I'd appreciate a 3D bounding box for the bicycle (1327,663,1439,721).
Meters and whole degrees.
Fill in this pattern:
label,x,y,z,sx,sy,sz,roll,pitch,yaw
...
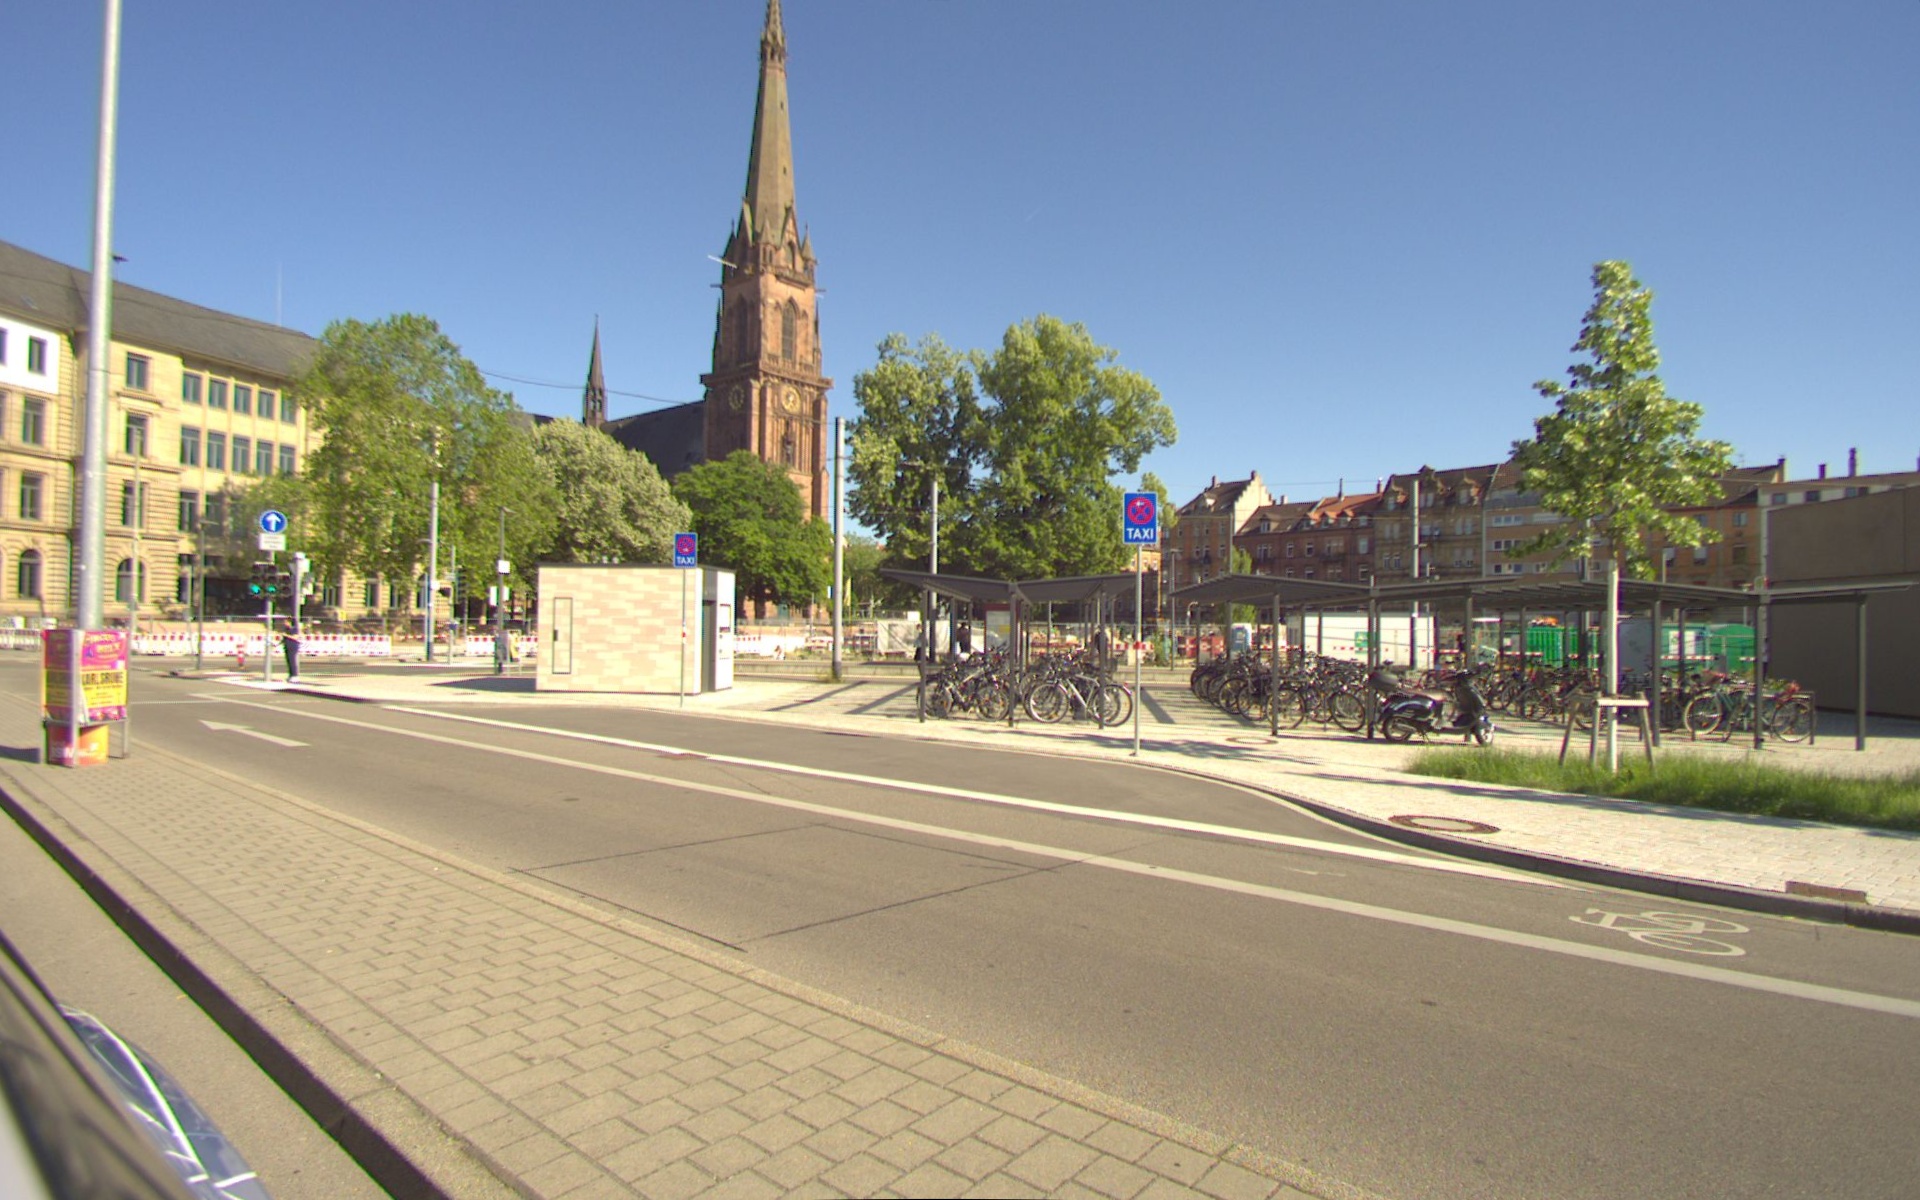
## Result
label,x,y,z,sx,sy,sz,roll,pitch,yaw
bicycle,7.916,1.715,18.994,1.882,1.016,0.456,0,-2,8

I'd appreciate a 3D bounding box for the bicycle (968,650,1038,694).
label,x,y,z,sx,sy,sz,roll,pitch,yaw
bicycle,1.039,1.717,24.224,1.652,1.016,0.456,0,-2,8

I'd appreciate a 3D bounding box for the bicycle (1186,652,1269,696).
label,x,y,z,sx,sy,sz,roll,pitch,yaw
bicycle,6.391,1.765,24.224,1.882,1.016,0.456,0,-2,8

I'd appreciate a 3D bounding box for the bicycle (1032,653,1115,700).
label,x,y,z,sx,sy,sz,roll,pitch,yaw
bicycle,2.603,1.750,23.302,1.882,1.016,0.456,0,-2,8

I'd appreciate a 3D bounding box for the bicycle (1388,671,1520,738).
label,x,y,z,sx,sy,sz,roll,pitch,yaw
bicycle,8.026,1.694,16.492,1.882,1.016,0.456,0,-2,8

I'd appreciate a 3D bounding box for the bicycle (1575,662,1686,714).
label,x,y,z,sx,sy,sz,roll,pitch,yaw
bicycle,13.871,1.821,20.969,1.882,1.016,0.456,0,-2,8

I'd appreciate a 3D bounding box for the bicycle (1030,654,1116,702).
label,x,y,z,sx,sy,sz,roll,pitch,yaw
bicycle,2.508,1.729,22.532,1.882,1.016,0.456,0,-2,8

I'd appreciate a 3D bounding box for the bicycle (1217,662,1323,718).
label,x,y,z,sx,sy,sz,roll,pitch,yaw
bicycle,5.895,1.711,19.321,1.882,1.016,0.456,0,-2,8

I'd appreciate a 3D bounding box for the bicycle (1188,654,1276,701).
label,x,y,z,sx,sy,sz,roll,pitch,yaw
bicycle,6.146,1.740,22.941,1.882,1.016,0.456,0,-2,8

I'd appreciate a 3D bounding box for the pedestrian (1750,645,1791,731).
label,x,y,z,sx,sy,sz,roll,pitch,yaw
pedestrian,19.745,2.129,24.649,0.718,2.029,0.678,-1,-3,41

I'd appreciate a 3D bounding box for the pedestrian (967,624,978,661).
label,x,y,z,sx,sy,sz,roll,pitch,yaw
pedestrian,0.582,1.997,47.614,0.399,1.734,0.419,1,-2,-11

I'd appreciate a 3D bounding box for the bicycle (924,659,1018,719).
label,x,y,z,sx,sy,sz,roll,pitch,yaw
bicycle,0.199,1.587,18.189,1.652,1.016,0.456,0,-2,8

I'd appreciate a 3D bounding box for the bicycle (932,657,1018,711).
label,x,y,z,sx,sy,sz,roll,pitch,yaw
bicycle,0.303,1.639,19.886,1.652,1.016,0.456,0,-2,8

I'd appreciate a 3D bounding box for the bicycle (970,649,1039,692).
label,x,y,z,sx,sy,sz,roll,pitch,yaw
bicycle,1.104,1.731,24.940,1.652,1.016,0.456,0,-2,8

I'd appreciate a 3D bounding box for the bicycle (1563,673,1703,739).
label,x,y,z,sx,sy,sz,roll,pitch,yaw
bicycle,10.970,1.720,16.535,1.882,1.016,0.456,0,-2,8

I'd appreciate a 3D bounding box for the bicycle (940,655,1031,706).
label,x,y,z,sx,sy,sz,roll,pitch,yaw
bicycle,0.541,1.677,21.224,1.882,1.016,0.456,0,-2,8

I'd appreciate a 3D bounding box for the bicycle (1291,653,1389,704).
label,x,y,z,sx,sy,sz,roll,pitch,yaw
bicycle,8.054,1.663,21.518,1.882,1.016,0.456,0,-2,8

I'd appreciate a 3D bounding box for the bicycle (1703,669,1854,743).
label,x,y,z,sx,sy,sz,roll,pitch,yaw
bicycle,13.079,1.687,16.205,1.882,1.106,0.456,0,-2,8

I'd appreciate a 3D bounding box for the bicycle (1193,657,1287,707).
label,x,y,z,sx,sy,sz,roll,pitch,yaw
bicycle,5.963,1.749,21.607,1.882,1.016,0.456,0,-2,8

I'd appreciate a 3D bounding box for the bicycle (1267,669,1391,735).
label,x,y,z,sx,sy,sz,roll,pitch,yaw
bicycle,6.119,1.684,16.838,1.882,1.016,0.456,0,-2,8

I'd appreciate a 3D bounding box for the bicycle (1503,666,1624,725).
label,x,y,z,sx,sy,sz,roll,pitch,yaw
bicycle,11.162,1.759,18.756,1.882,1.016,0.456,0,-2,8

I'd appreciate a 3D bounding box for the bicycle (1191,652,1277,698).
label,x,y,z,sx,sy,sz,roll,pitch,yaw
bicycle,6.363,1.734,23.565,1.882,1.016,0.456,0,-2,8

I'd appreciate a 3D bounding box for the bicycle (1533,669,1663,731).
label,x,y,z,sx,sy,sz,roll,pitch,yaw
bicycle,11.098,1.735,17.640,1.882,1.016,0.456,0,-2,8

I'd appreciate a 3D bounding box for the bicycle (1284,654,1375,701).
label,x,y,z,sx,sy,sz,roll,pitch,yaw
bicycle,8.313,1.738,22.816,1.882,1.016,0.456,0,-2,8

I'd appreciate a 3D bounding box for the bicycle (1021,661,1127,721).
label,x,y,z,sx,sy,sz,roll,pitch,yaw
bicycle,2.052,1.635,18.259,1.882,1.016,0.456,0,-2,8

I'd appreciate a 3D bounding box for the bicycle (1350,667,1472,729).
label,x,y,z,sx,sy,sz,roll,pitch,yaw
bicycle,7.892,1.711,17.761,1.882,1.016,0.456,0,-2,8

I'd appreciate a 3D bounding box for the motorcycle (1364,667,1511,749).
label,x,y,z,sx,sy,sz,roll,pitch,yaw
motorcycle,7.159,1.605,15.224,1.924,1.160,0.516,0,-2,6

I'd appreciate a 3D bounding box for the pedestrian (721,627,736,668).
label,x,y,z,sx,sy,sz,roll,pitch,yaw
pedestrian,-12.390,2.558,54.090,0.545,2.171,0.568,0,-2,15

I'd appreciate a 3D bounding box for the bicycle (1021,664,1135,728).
label,x,y,z,sx,sy,sz,roll,pitch,yaw
bicycle,1.987,1.604,17.112,1.882,1.016,0.456,0,-2,8

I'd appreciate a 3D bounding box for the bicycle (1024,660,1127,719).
label,x,y,z,sx,sy,sz,roll,pitch,yaw
bicycle,2.134,1.647,18.742,1.882,1.016,0.456,0,-2,8

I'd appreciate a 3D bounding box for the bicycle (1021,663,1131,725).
label,x,y,z,sx,sy,sz,roll,pitch,yaw
bicycle,2.017,1.626,17.672,1.882,1.016,0.456,0,-2,8

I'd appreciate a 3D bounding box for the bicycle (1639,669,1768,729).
label,x,y,z,sx,sy,sz,roll,pitch,yaw
bicycle,13.467,1.779,18.363,1.882,1.016,0.456,0,-2,8

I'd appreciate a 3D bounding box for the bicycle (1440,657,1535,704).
label,x,y,z,sx,sy,sz,roll,pitch,yaw
bicycle,12.076,1.839,23.193,1.882,1.016,0.456,0,-2,8

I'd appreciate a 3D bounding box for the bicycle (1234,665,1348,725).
label,x,y,z,sx,sy,sz,roll,pitch,yaw
bicycle,5.897,1.685,18.091,1.882,1.016,0.456,0,-2,8

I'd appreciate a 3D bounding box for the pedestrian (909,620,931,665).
label,x,y,z,sx,sy,sz,roll,pitch,yaw
pedestrian,-1.638,1.742,41.606,0.792,1.793,0.977,0,-2,3

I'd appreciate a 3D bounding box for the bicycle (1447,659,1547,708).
label,x,y,z,sx,sy,sz,roll,pitch,yaw
bicycle,11.781,1.827,22.242,1.882,1.016,0.456,0,-2,8

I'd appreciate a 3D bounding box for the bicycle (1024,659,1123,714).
label,x,y,z,sx,sy,sz,roll,pitch,yaw
bicycle,2.194,1.661,19.583,1.882,1.016,0.456,0,-2,8

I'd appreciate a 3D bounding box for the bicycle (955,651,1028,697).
label,x,y,z,sx,sy,sz,roll,pitch,yaw
bicycle,0.743,1.712,23.480,1.652,1.016,0.456,0,-2,8

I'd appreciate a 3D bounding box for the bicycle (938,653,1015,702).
label,x,y,z,sx,sy,sz,roll,pitch,yaw
bicycle,0.369,1.693,22.222,1.652,1.016,0.456,0,-2,8

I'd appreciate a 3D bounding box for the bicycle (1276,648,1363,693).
label,x,y,z,sx,sy,sz,roll,pitch,yaw
bicycle,8.484,1.655,23.908,1.882,1.016,0.456,0,-2,8

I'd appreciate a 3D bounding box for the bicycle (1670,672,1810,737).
label,x,y,z,sx,sy,sz,roll,pitch,yaw
bicycle,13.126,1.746,17.064,1.882,1.016,0.456,0,-2,8

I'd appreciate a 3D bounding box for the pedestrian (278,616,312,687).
label,x,y,z,sx,sy,sz,roll,pitch,yaw
pedestrian,-17.989,1.378,27.380,0.683,1.868,0.680,2,-2,-37

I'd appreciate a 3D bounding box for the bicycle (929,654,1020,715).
label,x,y,z,sx,sy,sz,roll,pitch,yaw
bicycle,0.278,1.561,18.775,1.652,1.069,0.456,0,-2,8

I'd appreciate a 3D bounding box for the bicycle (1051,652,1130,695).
label,x,y,z,sx,sy,sz,roll,pitch,yaw
bicycle,3.159,1.779,24.597,1.882,1.016,0.456,0,-2,8

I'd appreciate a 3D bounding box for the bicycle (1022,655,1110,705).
label,x,y,z,sx,sy,sz,roll,pitch,yaw
bicycle,2.294,1.724,21.919,1.882,1.016,0.456,0,-2,8

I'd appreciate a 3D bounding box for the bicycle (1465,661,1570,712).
label,x,y,z,sx,sy,sz,roll,pitch,yaw
bicycle,11.712,1.817,21.311,1.882,1.016,0.456,0,-2,8
